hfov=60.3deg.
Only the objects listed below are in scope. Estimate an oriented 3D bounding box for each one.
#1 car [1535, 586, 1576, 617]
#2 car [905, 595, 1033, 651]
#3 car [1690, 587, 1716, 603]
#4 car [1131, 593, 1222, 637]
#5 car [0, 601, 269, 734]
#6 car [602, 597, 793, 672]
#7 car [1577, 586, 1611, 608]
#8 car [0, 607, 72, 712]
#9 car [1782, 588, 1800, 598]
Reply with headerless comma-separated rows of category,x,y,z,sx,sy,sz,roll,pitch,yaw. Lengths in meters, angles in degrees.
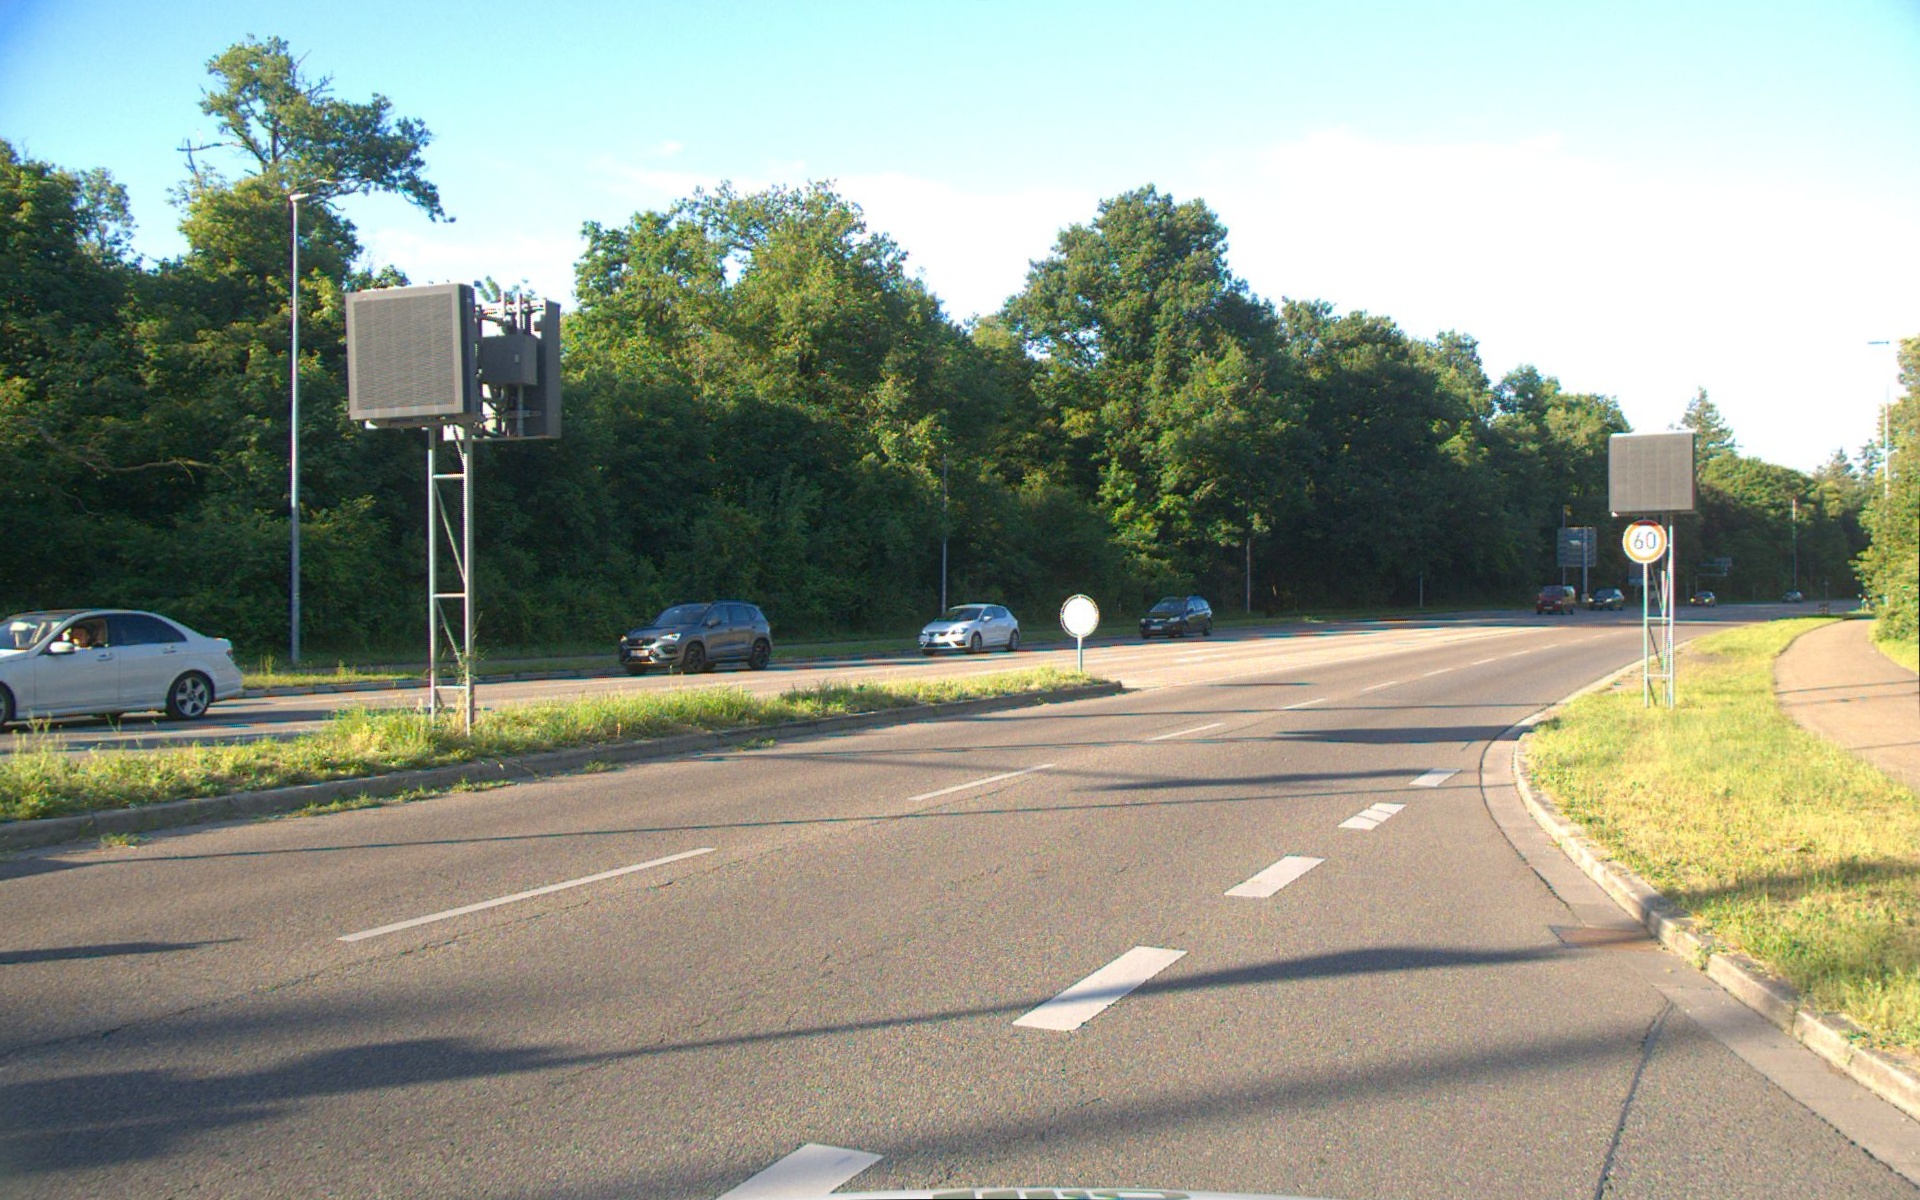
car,40.780,0.089,113.237,1.955,1.996,4.642,-2,-1,28
car,0.338,0.657,49.991,1.955,1.591,4.642,-2,-1,28
car,73.139,-0.524,162.729,1.956,1.591,4.330,0,0,30
car,8.410,0.552,63.908,1.955,1.591,4.642,-2,-1,28
car,-11.082,0.785,20.376,1.954,1.476,4.645,-2,-1,25
car,-5.947,0.763,38.047,1.955,1.591,4.642,-2,-1,28
car,50.793,-0.257,132.440,1.955,1.665,4.837,0,0,28
car,-15.127,0.856,22.916,1.963,1.476,4.623,0,0,40
car,102.009,-0.887,203.010,1.711,1.256,4.665,0,0,30
